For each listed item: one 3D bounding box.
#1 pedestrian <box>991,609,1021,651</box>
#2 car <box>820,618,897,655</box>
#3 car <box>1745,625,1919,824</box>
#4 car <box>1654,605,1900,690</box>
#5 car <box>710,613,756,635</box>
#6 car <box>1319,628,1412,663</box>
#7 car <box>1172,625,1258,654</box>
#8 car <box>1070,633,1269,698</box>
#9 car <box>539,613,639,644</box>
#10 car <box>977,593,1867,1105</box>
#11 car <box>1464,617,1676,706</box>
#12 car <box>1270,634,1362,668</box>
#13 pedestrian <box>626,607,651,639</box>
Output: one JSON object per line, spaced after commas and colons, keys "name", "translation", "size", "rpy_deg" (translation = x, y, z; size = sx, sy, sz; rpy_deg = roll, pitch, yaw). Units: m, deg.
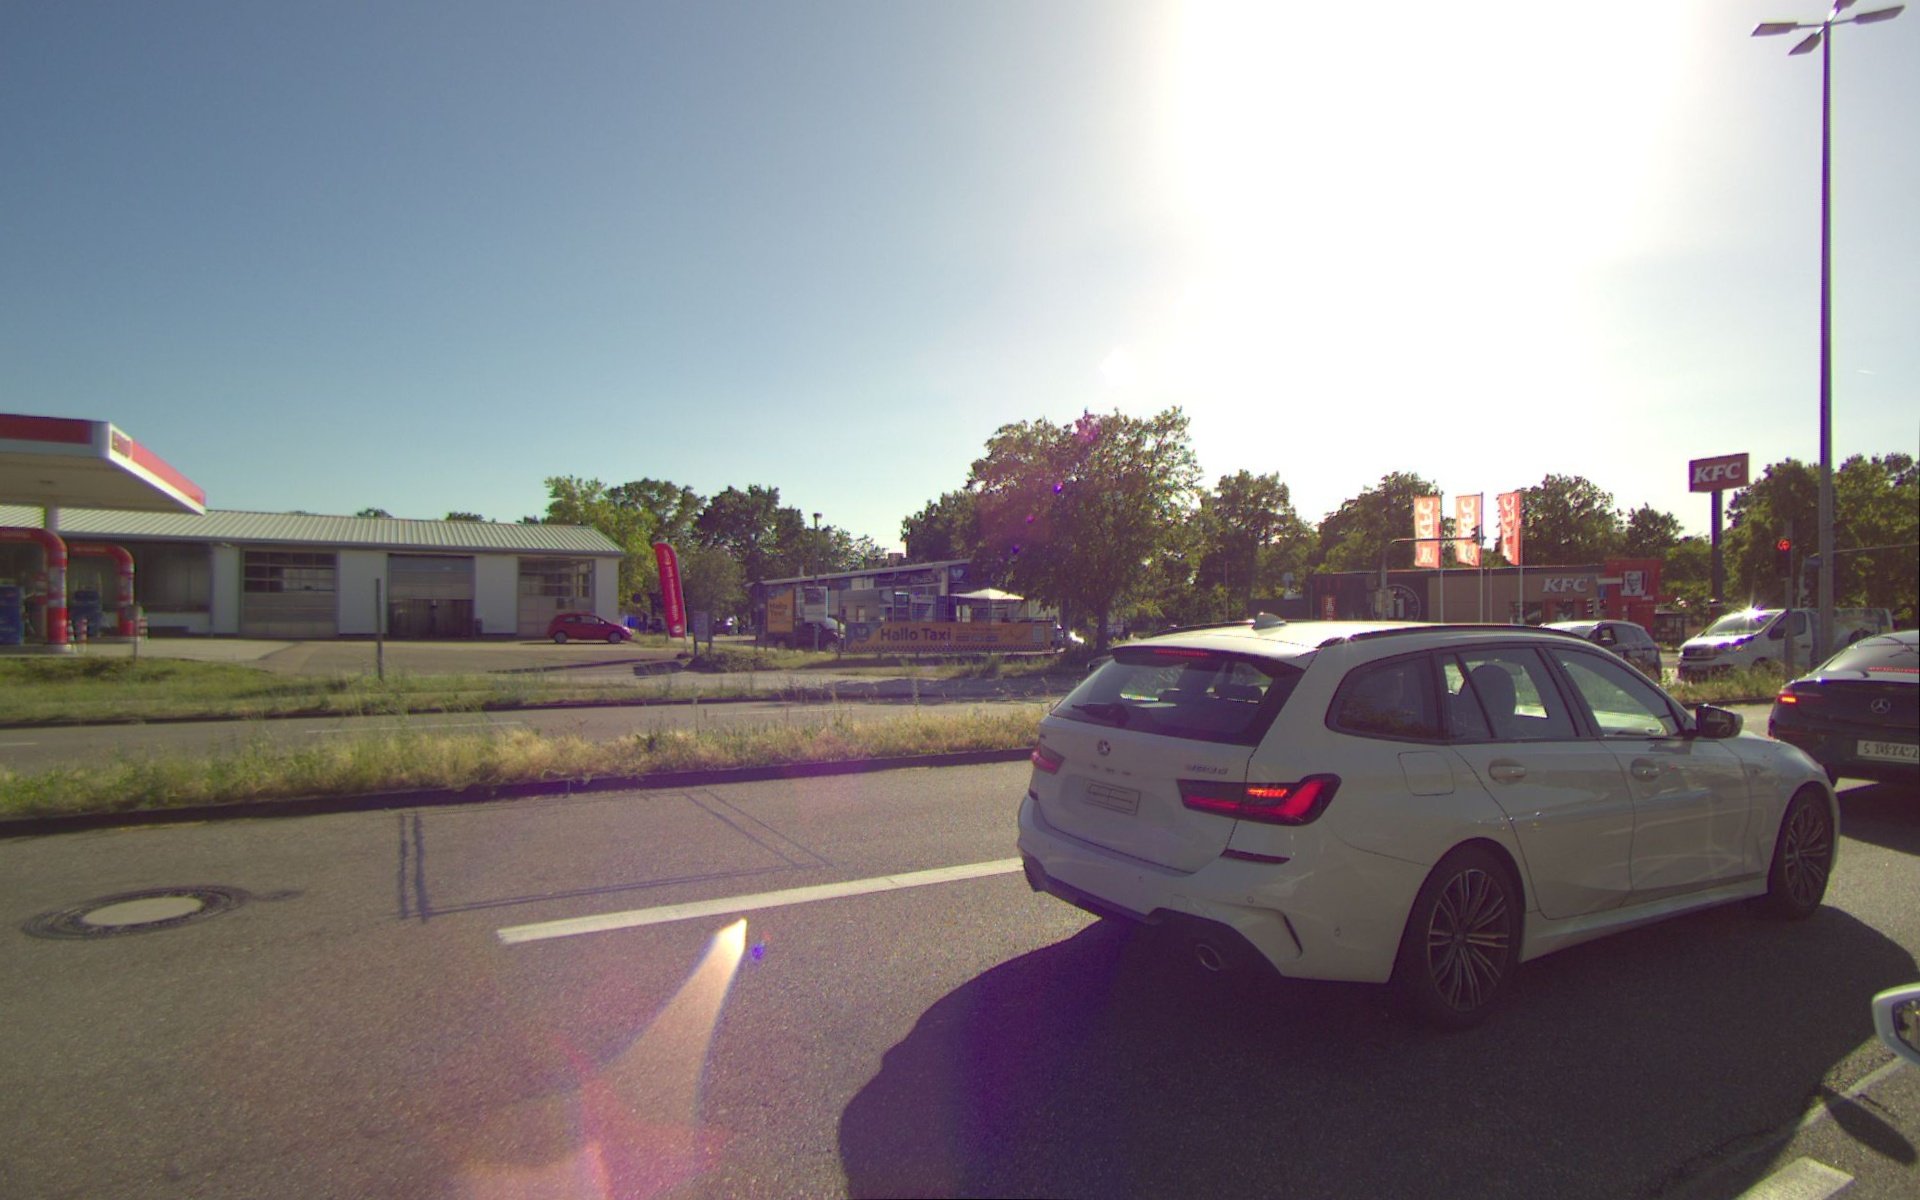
{"name": "pedestrian", "translation": [2.044, 1.339, 44.729], "size": [0.916, 1.840, 1.013], "rpy_deg": [1, -1, -34]}
{"name": "car", "translation": [-3.764, 1.314, 37.022], "size": [1.625, 1.301, 3.122], "rpy_deg": [1, -1, -32]}
{"name": "car", "translation": [8.790, 0.955, 8.615], "size": [4.409, 1.433, 1.760], "rpy_deg": [1, -1, -30]}
{"name": "car", "translation": [20.499, 1.182, 25.302], "size": [4.933, 2.040, 1.998], "rpy_deg": [1, -1, -8]}
{"name": "car", "translation": [-19.944, 2.114, 88.247], "size": [2.085, 1.840, 4.000], "rpy_deg": [0, -1, 20]}
{"name": "car", "translation": [20.056, 2.217, 49.846], "size": [1.804, 1.616, 4.016], "rpy_deg": [1, -1, -32]}
{"name": "car", "translation": [13.777, 2.117, 54.513], "size": [1.840, 1.449, 4.700], "rpy_deg": [0, 0, -28]}
{"name": "car", "translation": [5.131, 1.568, 24.551], "size": [4.546, 1.464, 1.898], "rpy_deg": [1, -3, -26]}
{"name": "car", "translation": [-18.255, 1.400, 49.433], "size": [4.486, 1.458, 1.741], "rpy_deg": [1, -1, -26]}
{"name": "car", "translation": [2.412, 0.787, 4.894], "size": [4.409, 1.529, 1.760], "rpy_deg": [1, -1, -30]}
{"name": "car", "translation": [13.002, 1.254, 21.388], "size": [4.379, 1.712, 1.872], "rpy_deg": [1, -1, -27]}
{"name": "car", "translation": [17.010, 2.397, 48.155], "size": [1.801, 1.448, 4.022], "rpy_deg": [1, -1, -27]}
{"name": "pedestrian", "translation": [-18.475, 1.308, 57.714], "size": [1.088, 1.787, 1.149], "rpy_deg": [1, -1, -32]}
